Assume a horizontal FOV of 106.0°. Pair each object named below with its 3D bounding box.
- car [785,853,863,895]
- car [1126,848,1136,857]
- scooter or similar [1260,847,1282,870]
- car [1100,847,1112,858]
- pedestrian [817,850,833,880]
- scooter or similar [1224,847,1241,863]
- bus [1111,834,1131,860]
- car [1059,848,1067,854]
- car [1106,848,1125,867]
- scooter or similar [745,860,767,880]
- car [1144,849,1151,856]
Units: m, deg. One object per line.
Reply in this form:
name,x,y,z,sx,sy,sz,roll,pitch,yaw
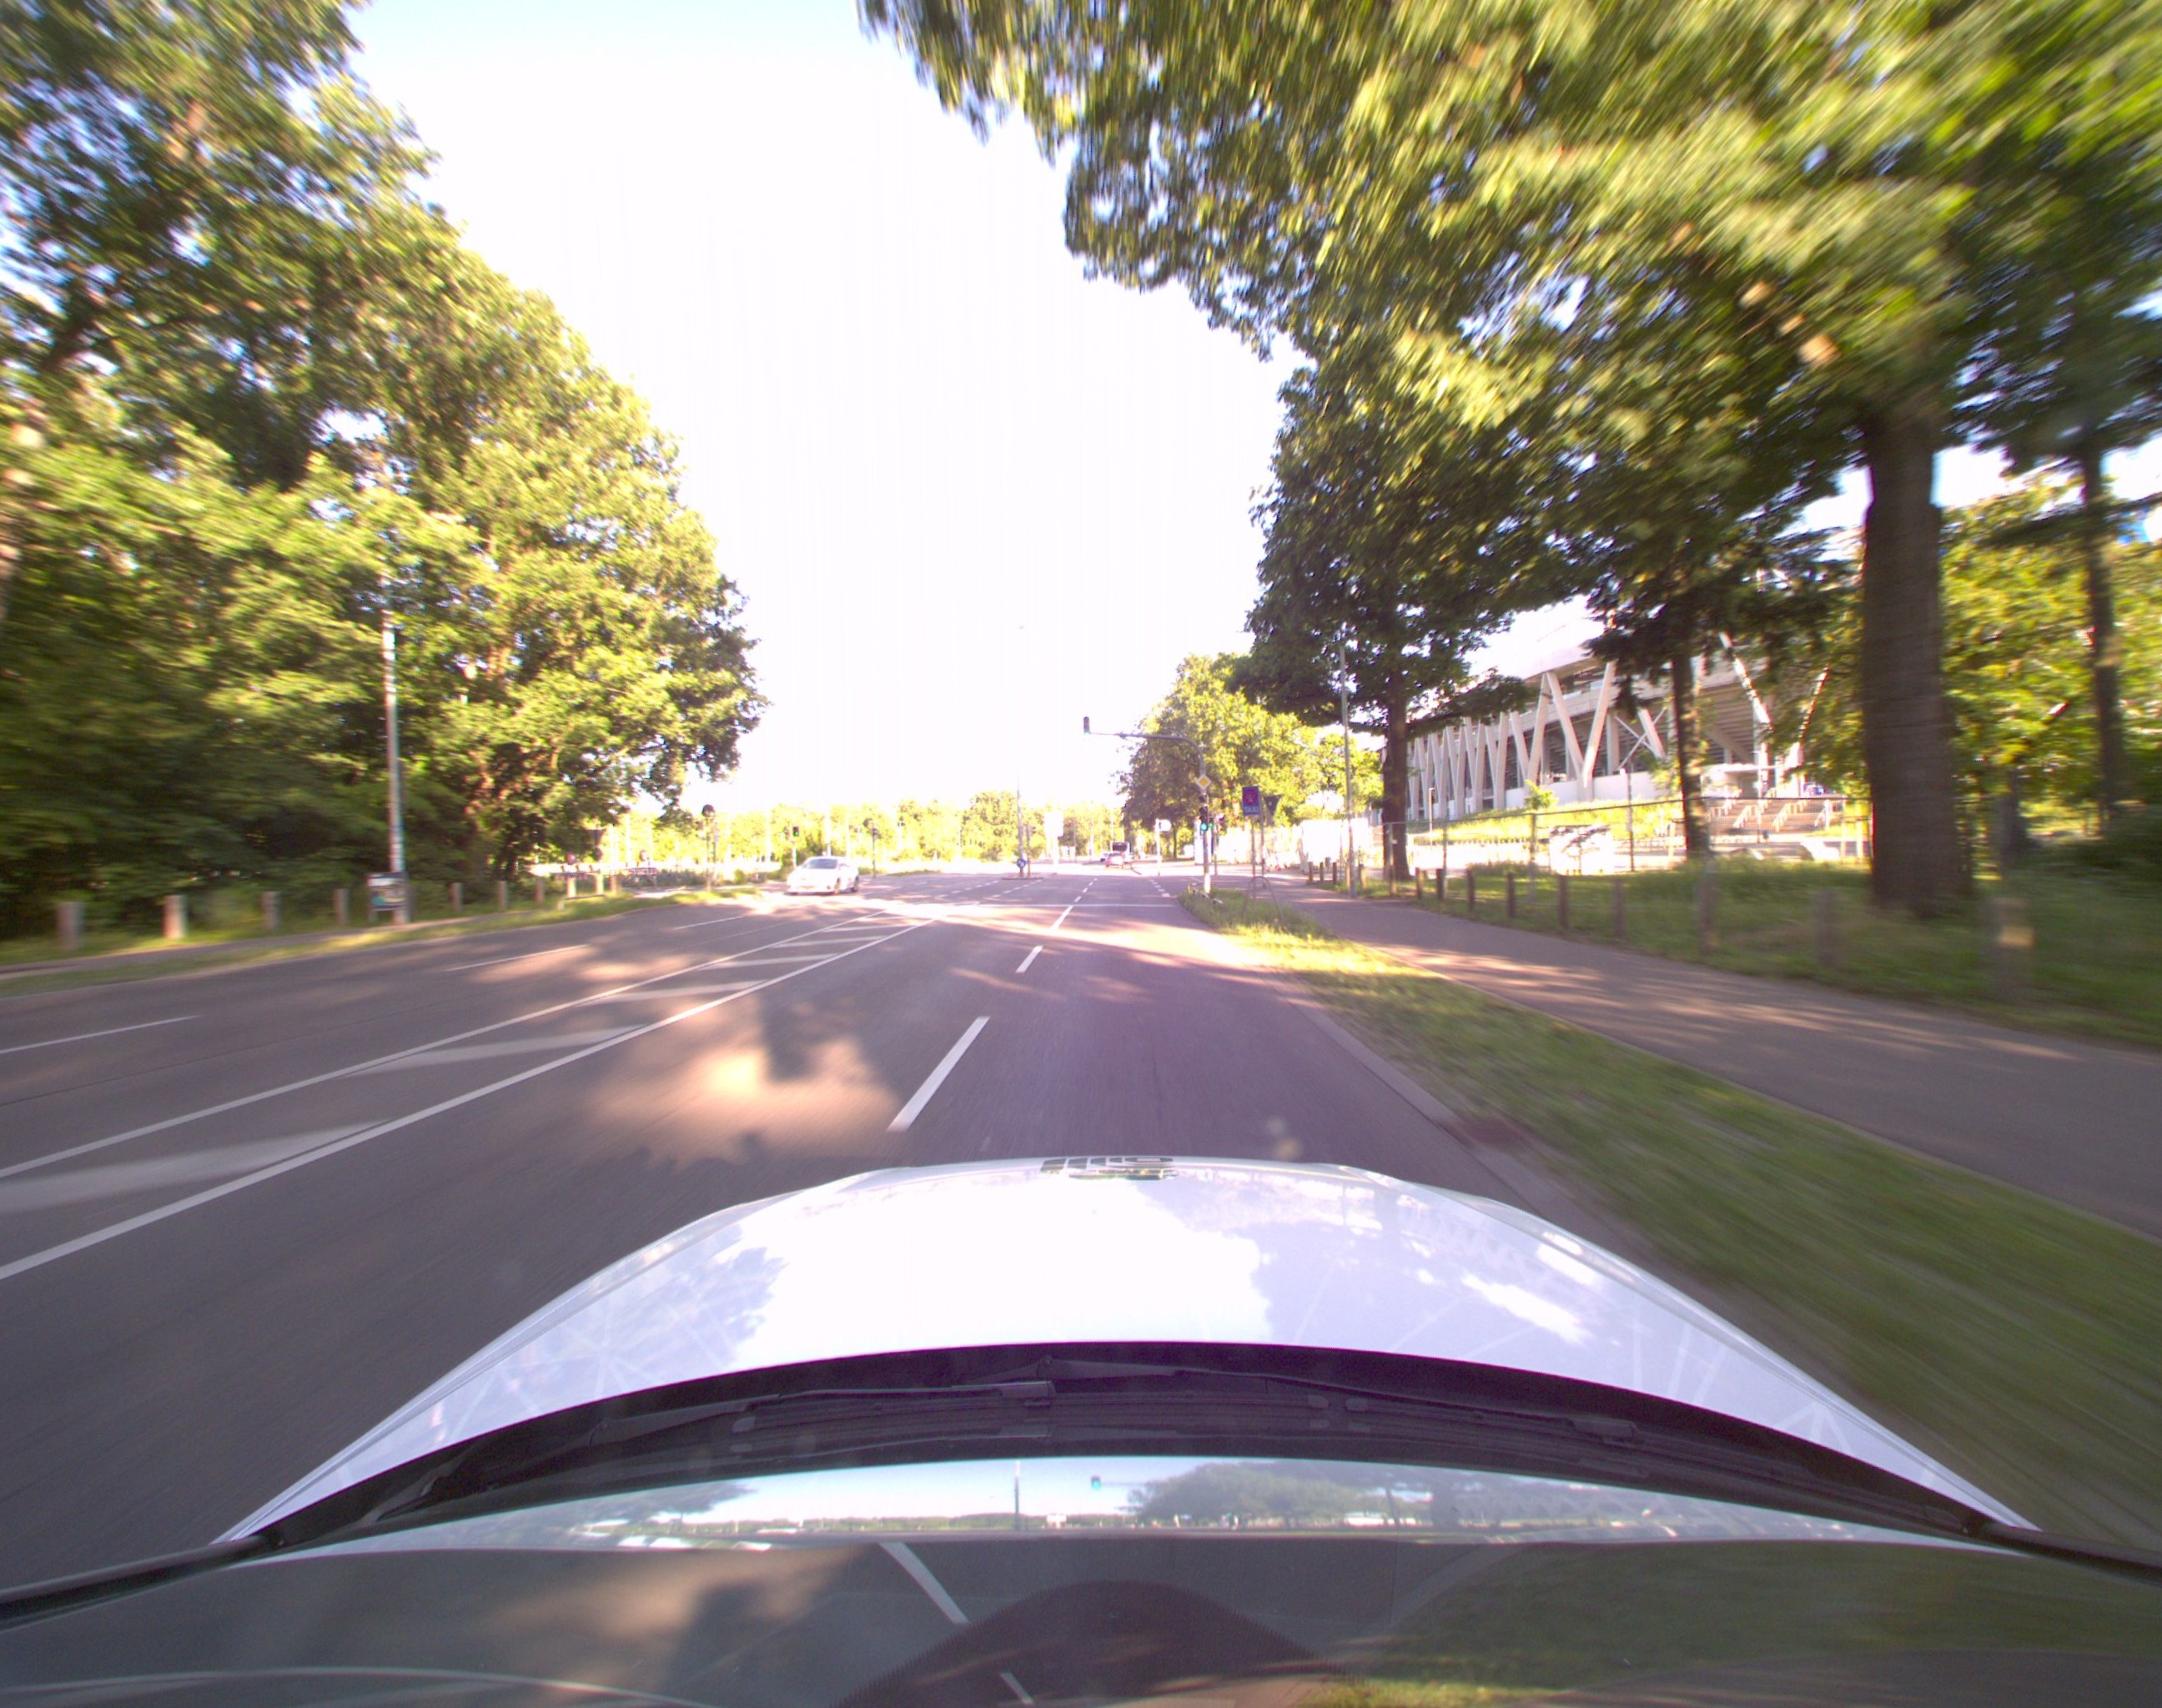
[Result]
car,-9.686,0.720,30.984,1.705,1.464,4.099,0,0,-1
car,10.413,-0.287,168.439,1.853,1.684,3.779,-2,0,6
scooter or similar,11.353,0.252,48.659,1.369,1.288,0.597,-1,2,-41
car,4.104,-0.204,135.064,1.873,1.765,4.002,-2,1,2
pedestrian,-16.798,0.732,53.434,0.610,1.909,1.107,-2,-1,2
scooter or similar,11.840,0.086,63.688,0.562,1.256,1.610,-2,0,40
bus,5.416,-1.007,112.200,2.595,3.368,7.979,-1,1,2
car,-5.108,-0.955,232.943,1.856,1.684,3.774,-2,0,2
car,3.519,0.323,83.297,1.873,1.765,4.002,-2,1,2
scooter or similar,-20.488,1.023,51.346,0.508,1.224,1.364,-2,-1,15
car,17.673,-0.374,216.612,1.585,1.605,3.587,0,0,3
